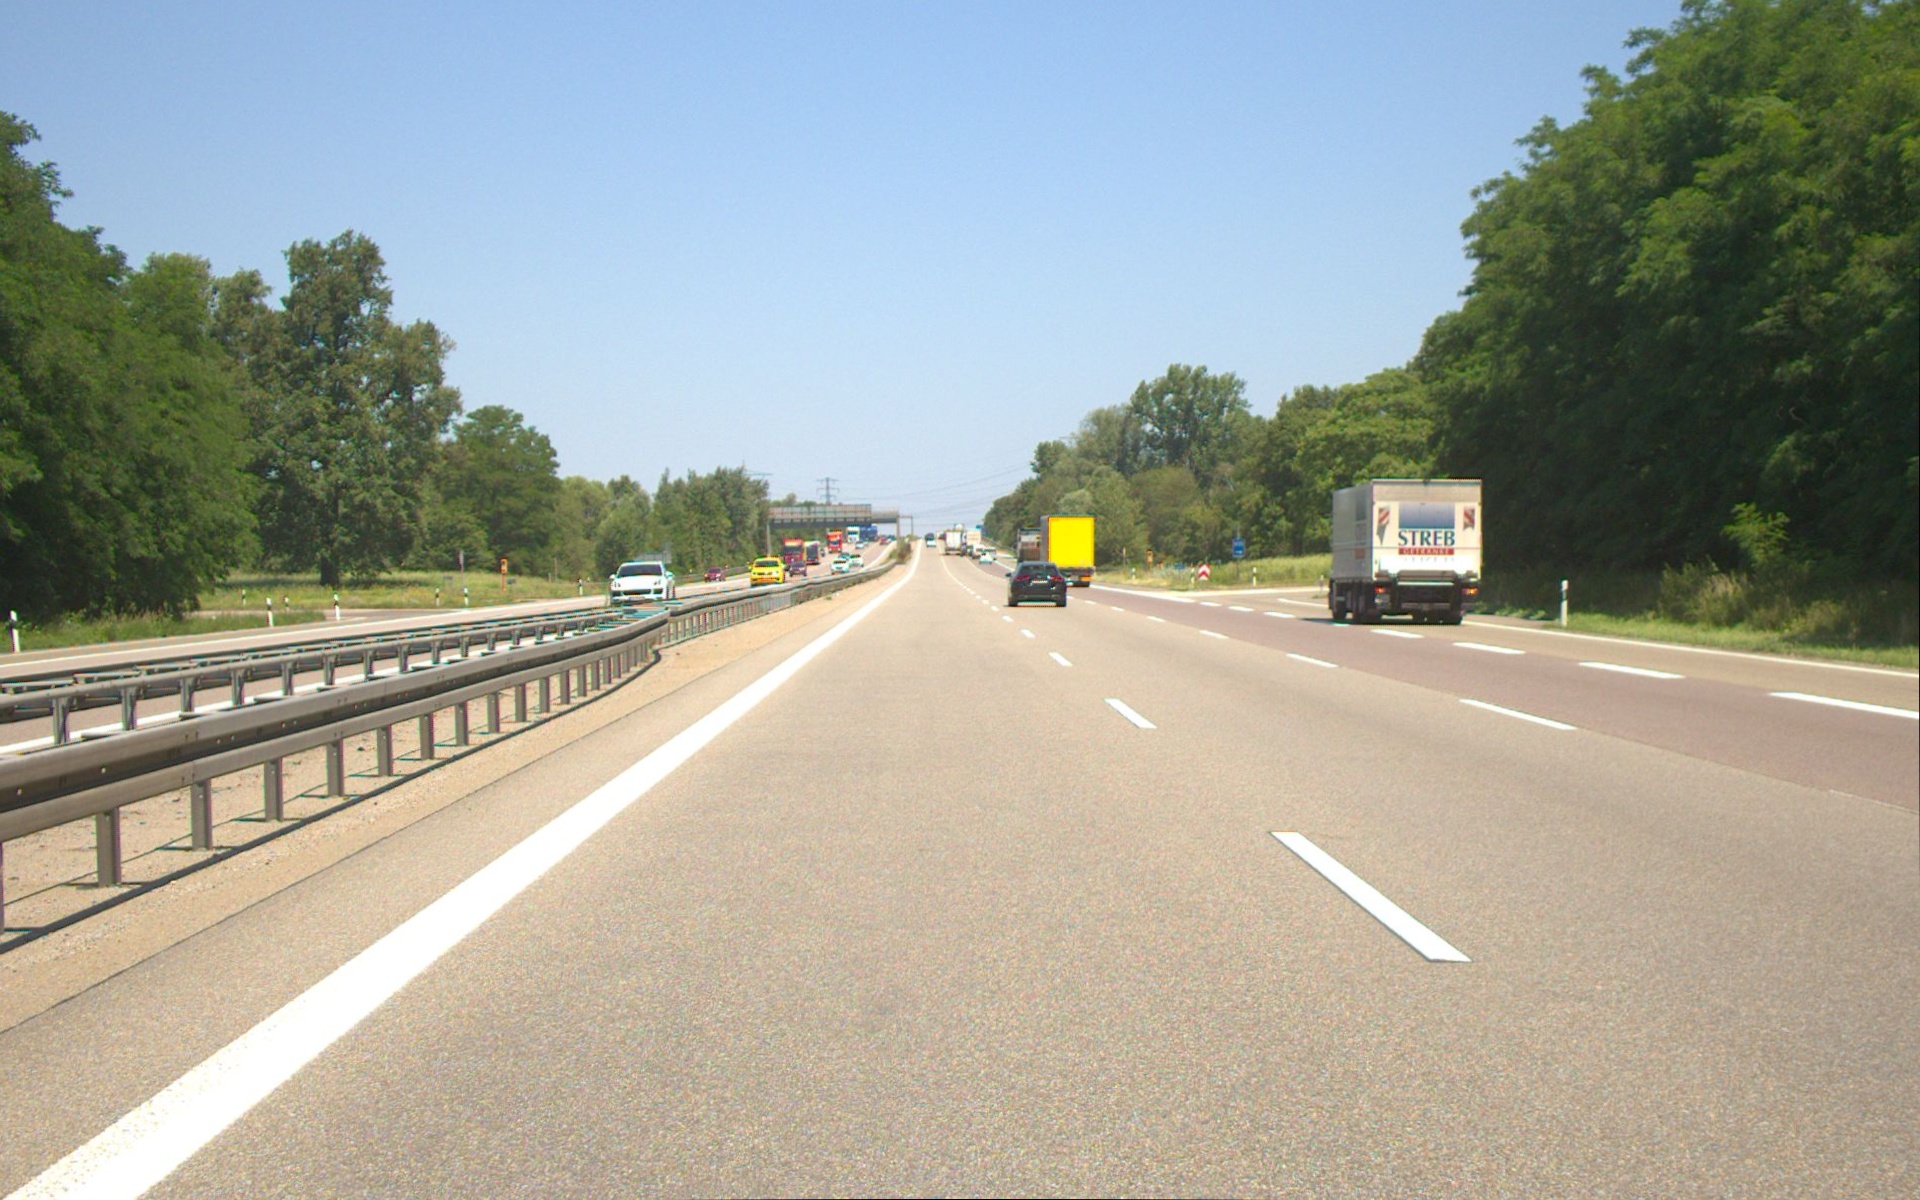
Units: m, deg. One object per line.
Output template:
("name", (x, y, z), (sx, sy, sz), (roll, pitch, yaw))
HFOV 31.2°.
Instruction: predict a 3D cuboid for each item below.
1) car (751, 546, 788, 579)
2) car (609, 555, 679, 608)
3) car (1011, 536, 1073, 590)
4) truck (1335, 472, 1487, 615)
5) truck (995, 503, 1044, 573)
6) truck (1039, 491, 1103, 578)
("car", (-11.458, -2.273, 206.744), (1.993, 1.957, 5.211), (0, 1, 0))
("car", (-10.848, -0.658, 118.304), (1.993, 1.700, 5.265), (0, 2, -1))
("car", (2.632, -1.201, 110.840), (1.827, 1.700, 4.000), (0, 1, -1))
("truck", (11.027, -1.374, 84.999), (3.028, 3.308, 10.769), (0, 1, 4))
("truck", (4.213, -4.369, 245.677), (3.367, 4.864, 15.086), (0, 1, 0))
("truck", (6.437, -3.759, 201.324), (3.377, 4.864, 15.086), (0, 1, 0))
